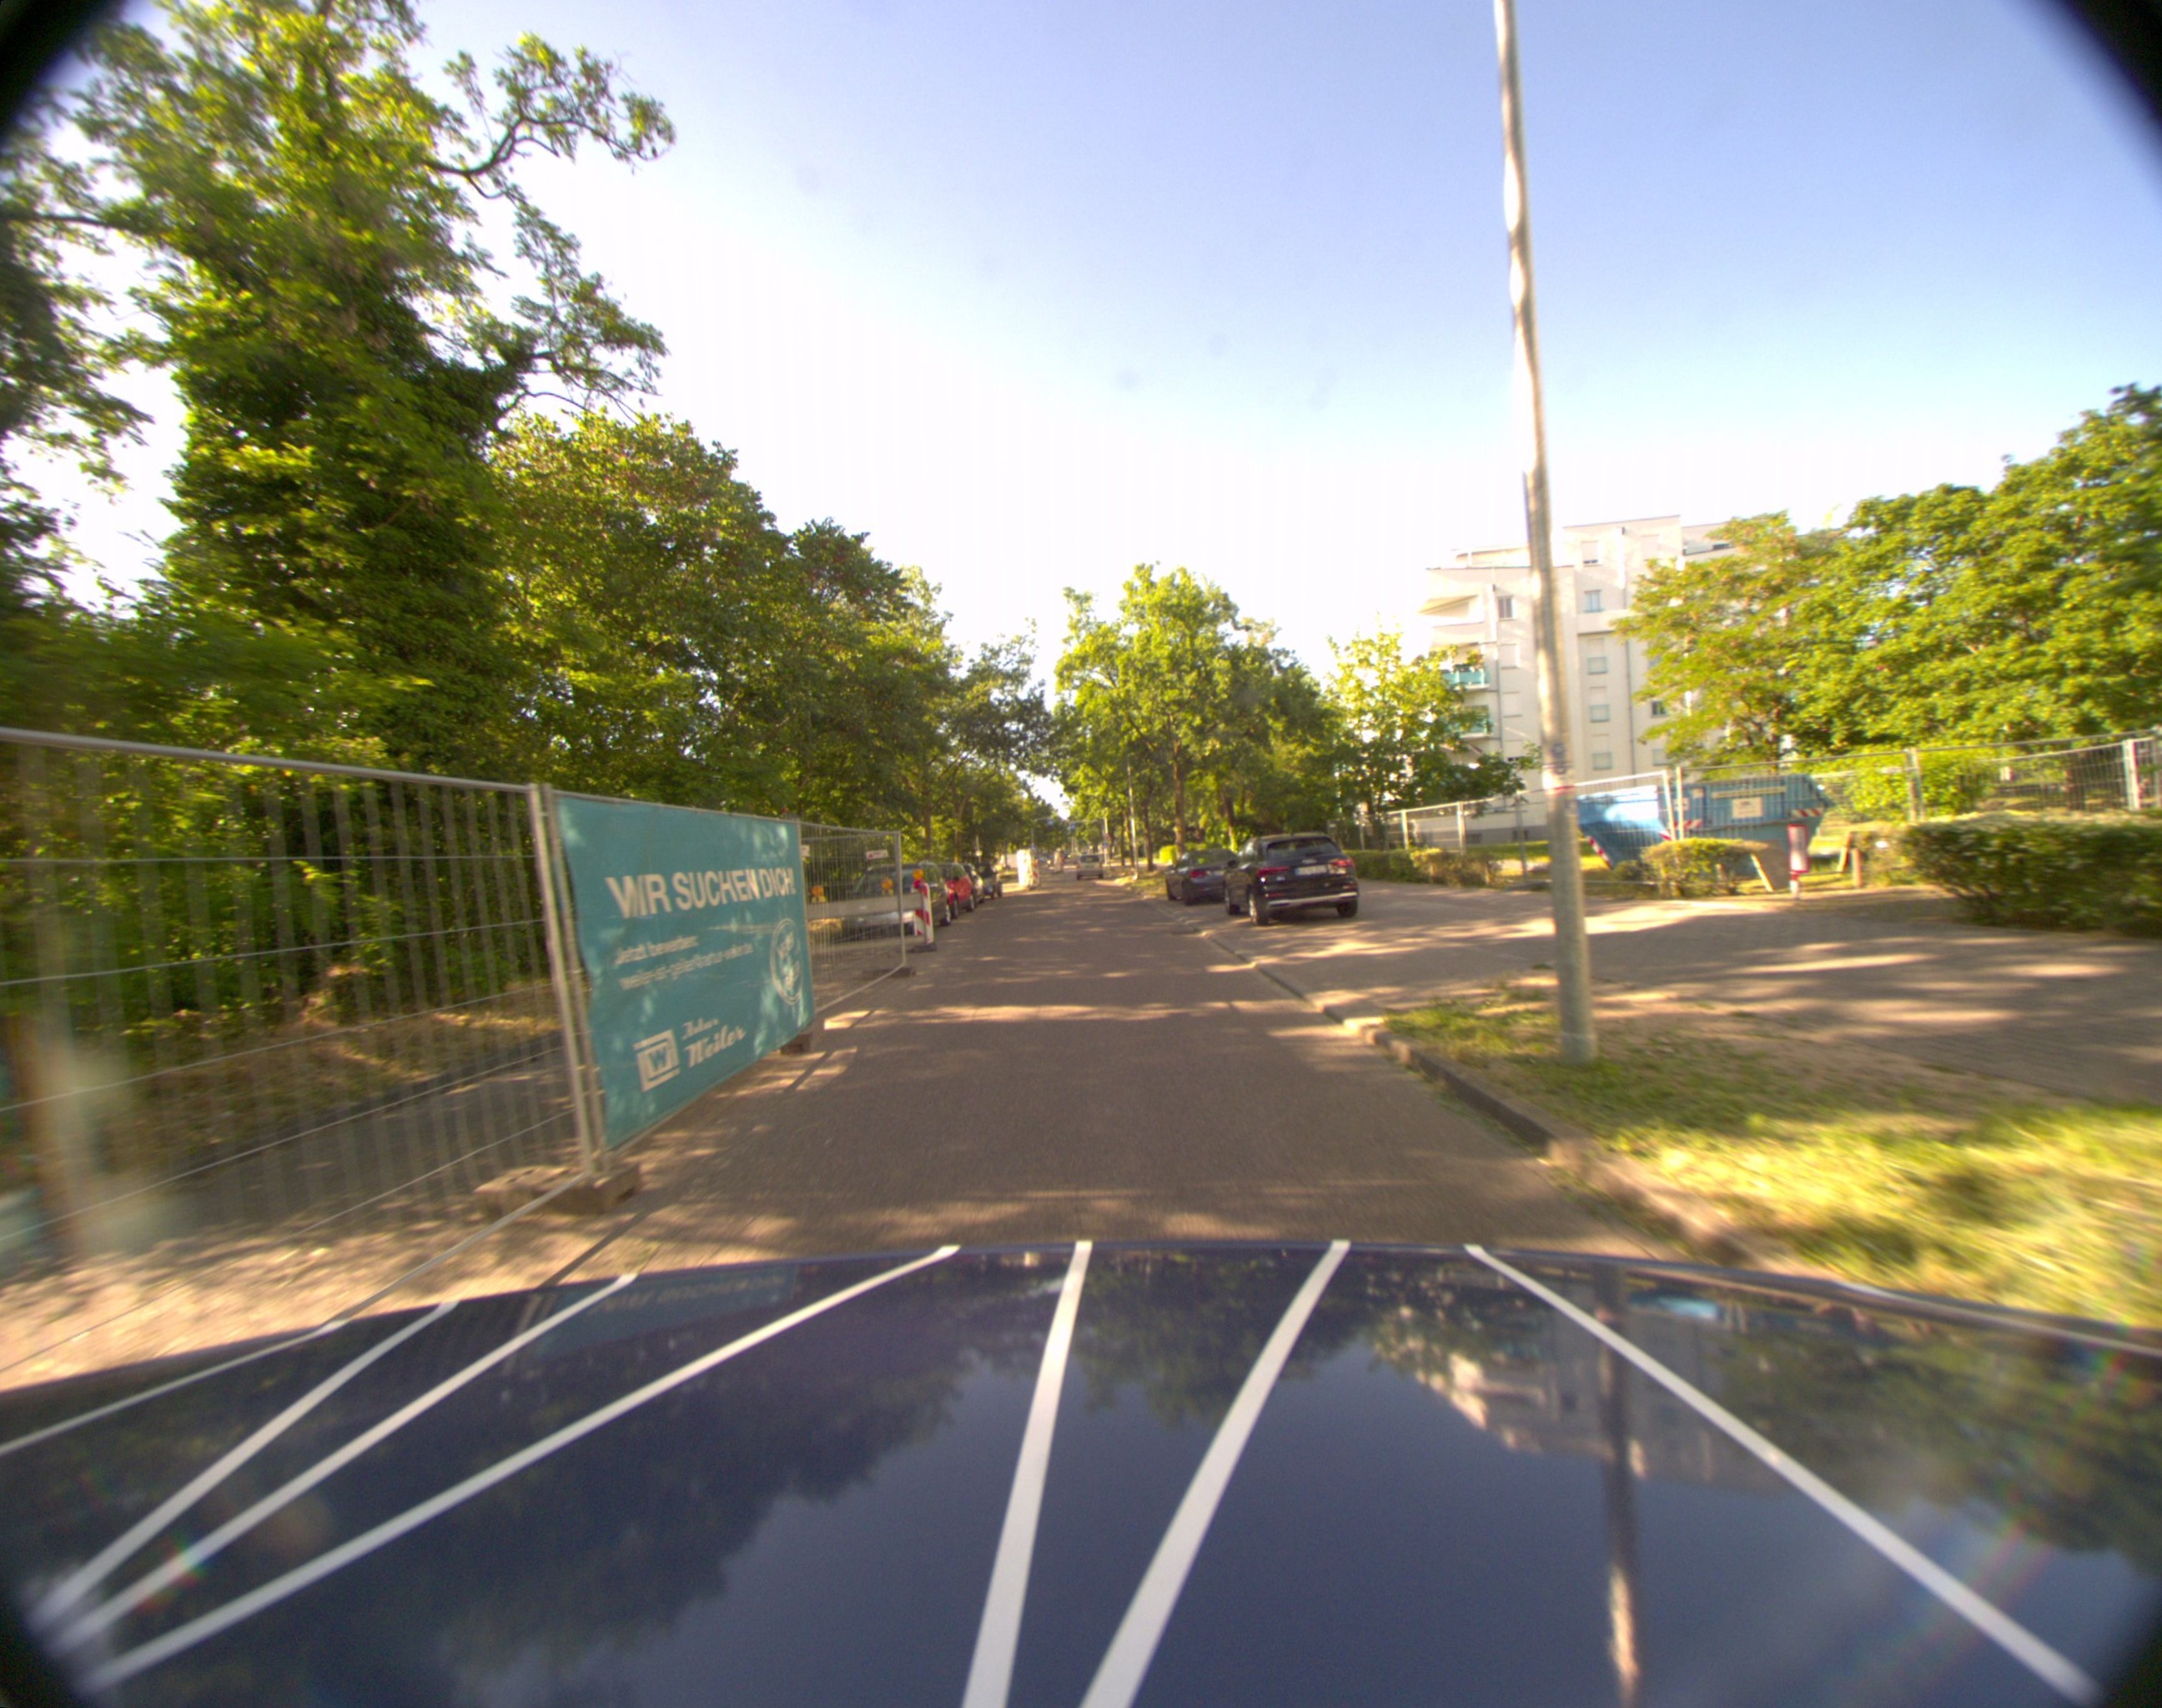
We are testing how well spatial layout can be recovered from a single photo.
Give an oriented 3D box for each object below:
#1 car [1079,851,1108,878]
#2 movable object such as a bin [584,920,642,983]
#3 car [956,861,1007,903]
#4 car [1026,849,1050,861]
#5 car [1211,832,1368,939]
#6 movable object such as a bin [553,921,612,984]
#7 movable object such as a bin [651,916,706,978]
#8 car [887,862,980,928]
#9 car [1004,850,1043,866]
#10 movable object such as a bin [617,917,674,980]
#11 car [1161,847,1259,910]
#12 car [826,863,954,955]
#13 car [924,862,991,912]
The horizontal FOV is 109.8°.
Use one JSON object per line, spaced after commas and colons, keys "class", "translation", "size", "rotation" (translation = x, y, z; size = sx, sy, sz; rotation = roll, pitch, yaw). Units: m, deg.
{"class": "car", "translation": [0.748, 0.657, 48.865], "size": [1.664, 1.587, 4.007], "rotation": [-2, 0, -1]}
{"class": "movable object such as a bin", "translation": [-7.171, 1.483, 11.654], "size": [0.485, 0.856, 0.559], "rotation": [-4, 1, -2]}
{"class": "car", "translation": [-4.093, 1.118, 31.558], "size": [1.497, 1.500, 2.677], "rotation": [-5, 0, 3]}
{"class": "car", "translation": [-7.788, 0.143, 137.512], "size": [4.245, 1.993, 1.565], "rotation": [-3, 0, -4]}
{"class": "car", "translation": [3.815, 0.519, 14.701], "size": [1.780, 1.612, 4.220], "rotation": [-6, 0, 1]}
{"class": "movable object such as a bin", "translation": [-7.666, 1.502, 11.701], "size": [0.485, 0.856, 0.559], "rotation": [-4, 1, -2]}
{"class": "movable object such as a bin", "translation": [-6.185, 1.421, 11.690], "size": [0.485, 0.856, 0.559], "rotation": [-4, 1, -2]}
{"class": "car", "translation": [-4.184, 1.102, 22.233], "size": [1.683, 1.565, 4.066], "rotation": [-5, 0, 2]}
{"class": "car", "translation": [-7.907, 0.575, 104.829], "size": [5.269, 1.993, 2.000], "rotation": [-3, 0, -1]}
{"class": "movable object such as a bin", "translation": [-6.676, 1.437, 11.668], "size": [0.485, 0.856, 0.559], "rotation": [-4, 1, -2]}
{"class": "car", "translation": [3.467, 0.623, 21.151], "size": [1.721, 1.424, 4.136], "rotation": [-6, 0, -3]}
{"class": "car", "translation": [-4.104, 1.099, 17.021], "size": [1.683, 1.612, 4.137], "rotation": [-5, 0, 0]}
{"class": "car", "translation": [-4.348, 1.121, 27.298], "size": [1.716, 1.500, 4.148], "rotation": [-5, 0, -2]}
